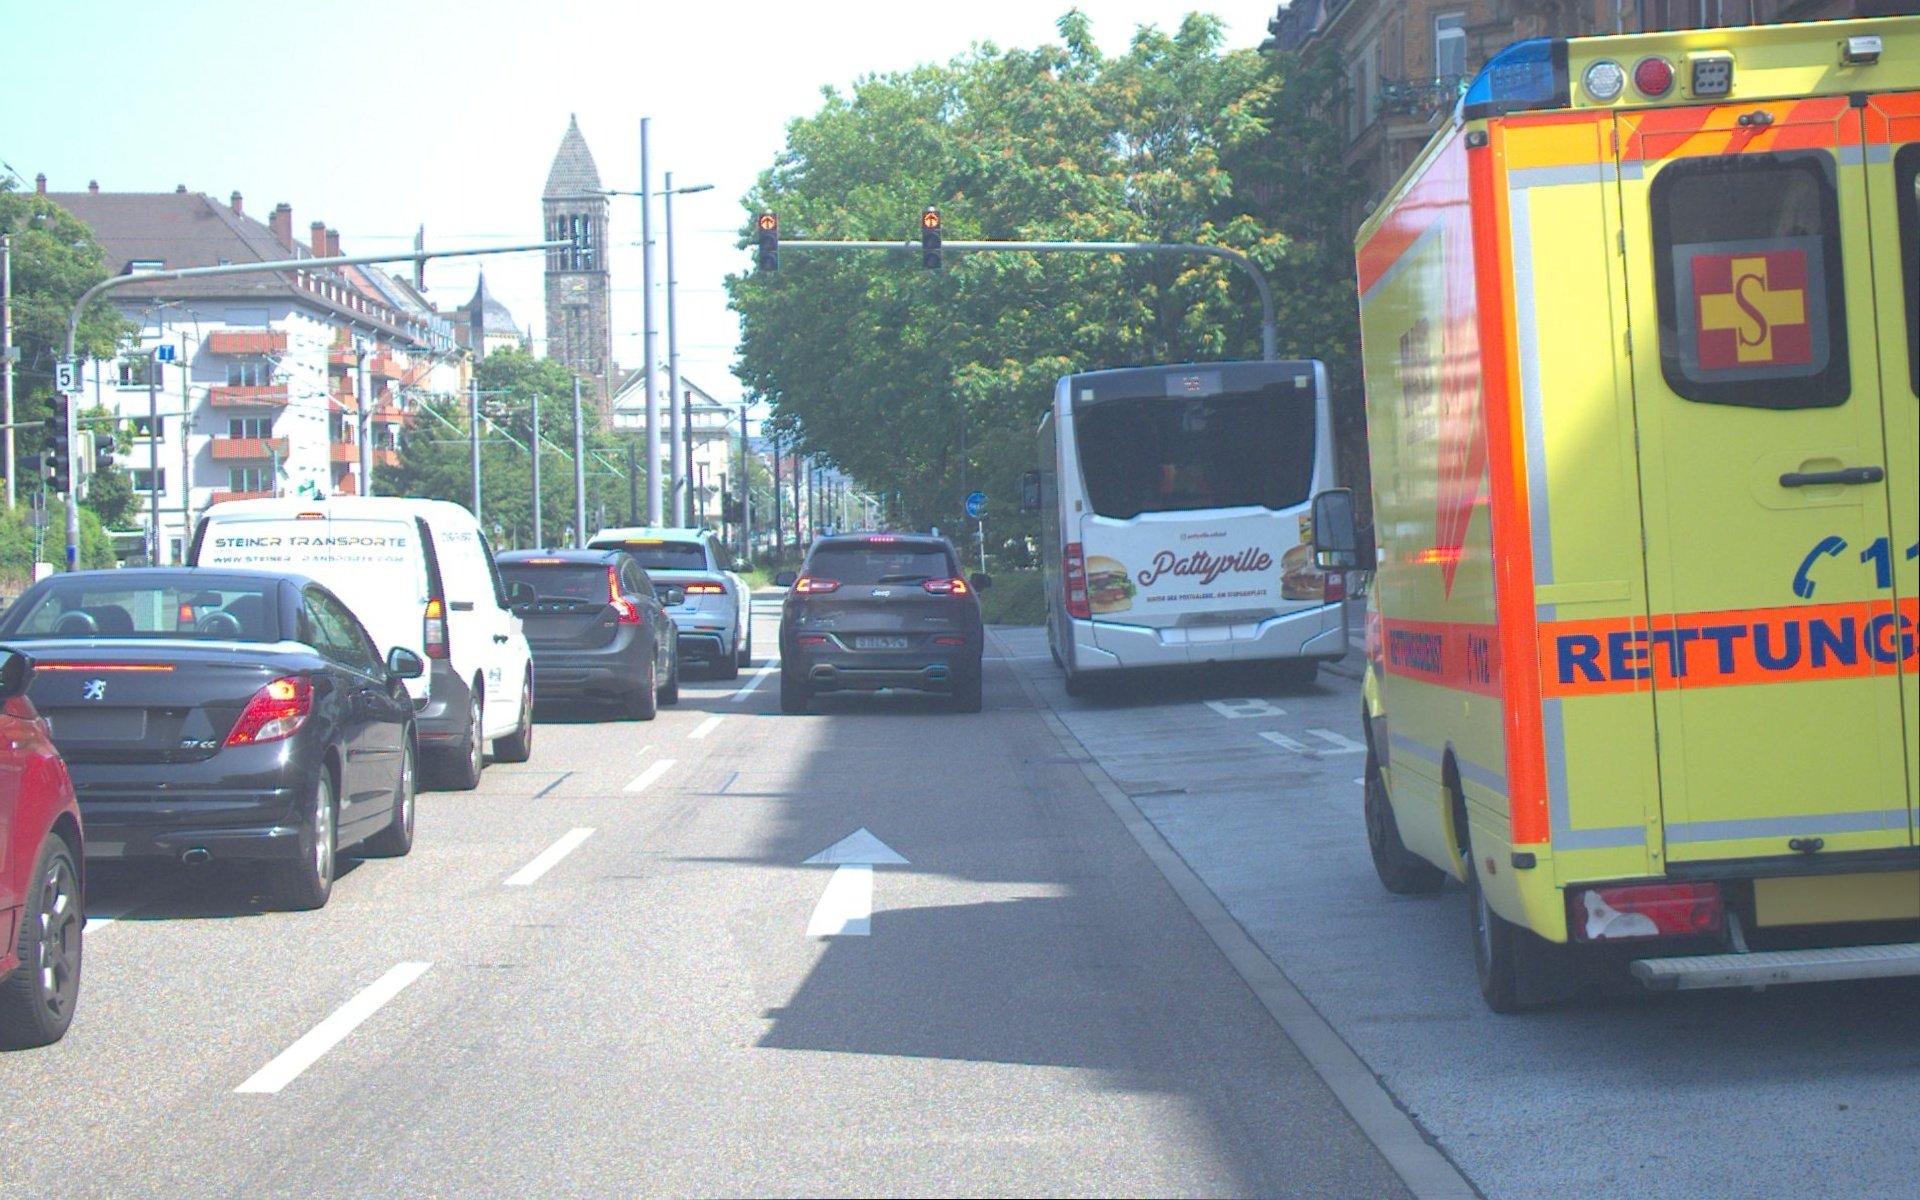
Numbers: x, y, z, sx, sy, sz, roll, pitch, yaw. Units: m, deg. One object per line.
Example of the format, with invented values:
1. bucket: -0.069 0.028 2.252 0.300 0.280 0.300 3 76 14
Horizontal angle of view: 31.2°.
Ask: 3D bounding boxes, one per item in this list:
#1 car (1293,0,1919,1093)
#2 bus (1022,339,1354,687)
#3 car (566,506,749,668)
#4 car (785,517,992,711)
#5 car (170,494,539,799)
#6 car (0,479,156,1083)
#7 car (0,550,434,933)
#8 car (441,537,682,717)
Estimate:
1. car: 2.543 -0.284 11.607 2.299 2.878 5.599 -2 1 1
2. bus: 2.128 -0.881 36.565 2.534 3.021 12.437 -1 1 0
3. car: -3.336 -0.150 38.515 1.790 1.692 4.000 -1 0 -2
4. car: -0.689 0.108 32.169 1.790 1.672 4.000 -1 0 -2
5. car: -3.830 0.262 22.366 1.790 1.774 4.000 -1 0 -2
6. car: -3.460 0.501 8.759 1.762 1.612 4.082 -1 0 1
7. car: -3.488 0.525 15.307 1.790 1.426 4.001 -1 1 -2
8. car: -3.493 0.214 30.715 1.790 1.467 4.000 -1 0 -2
